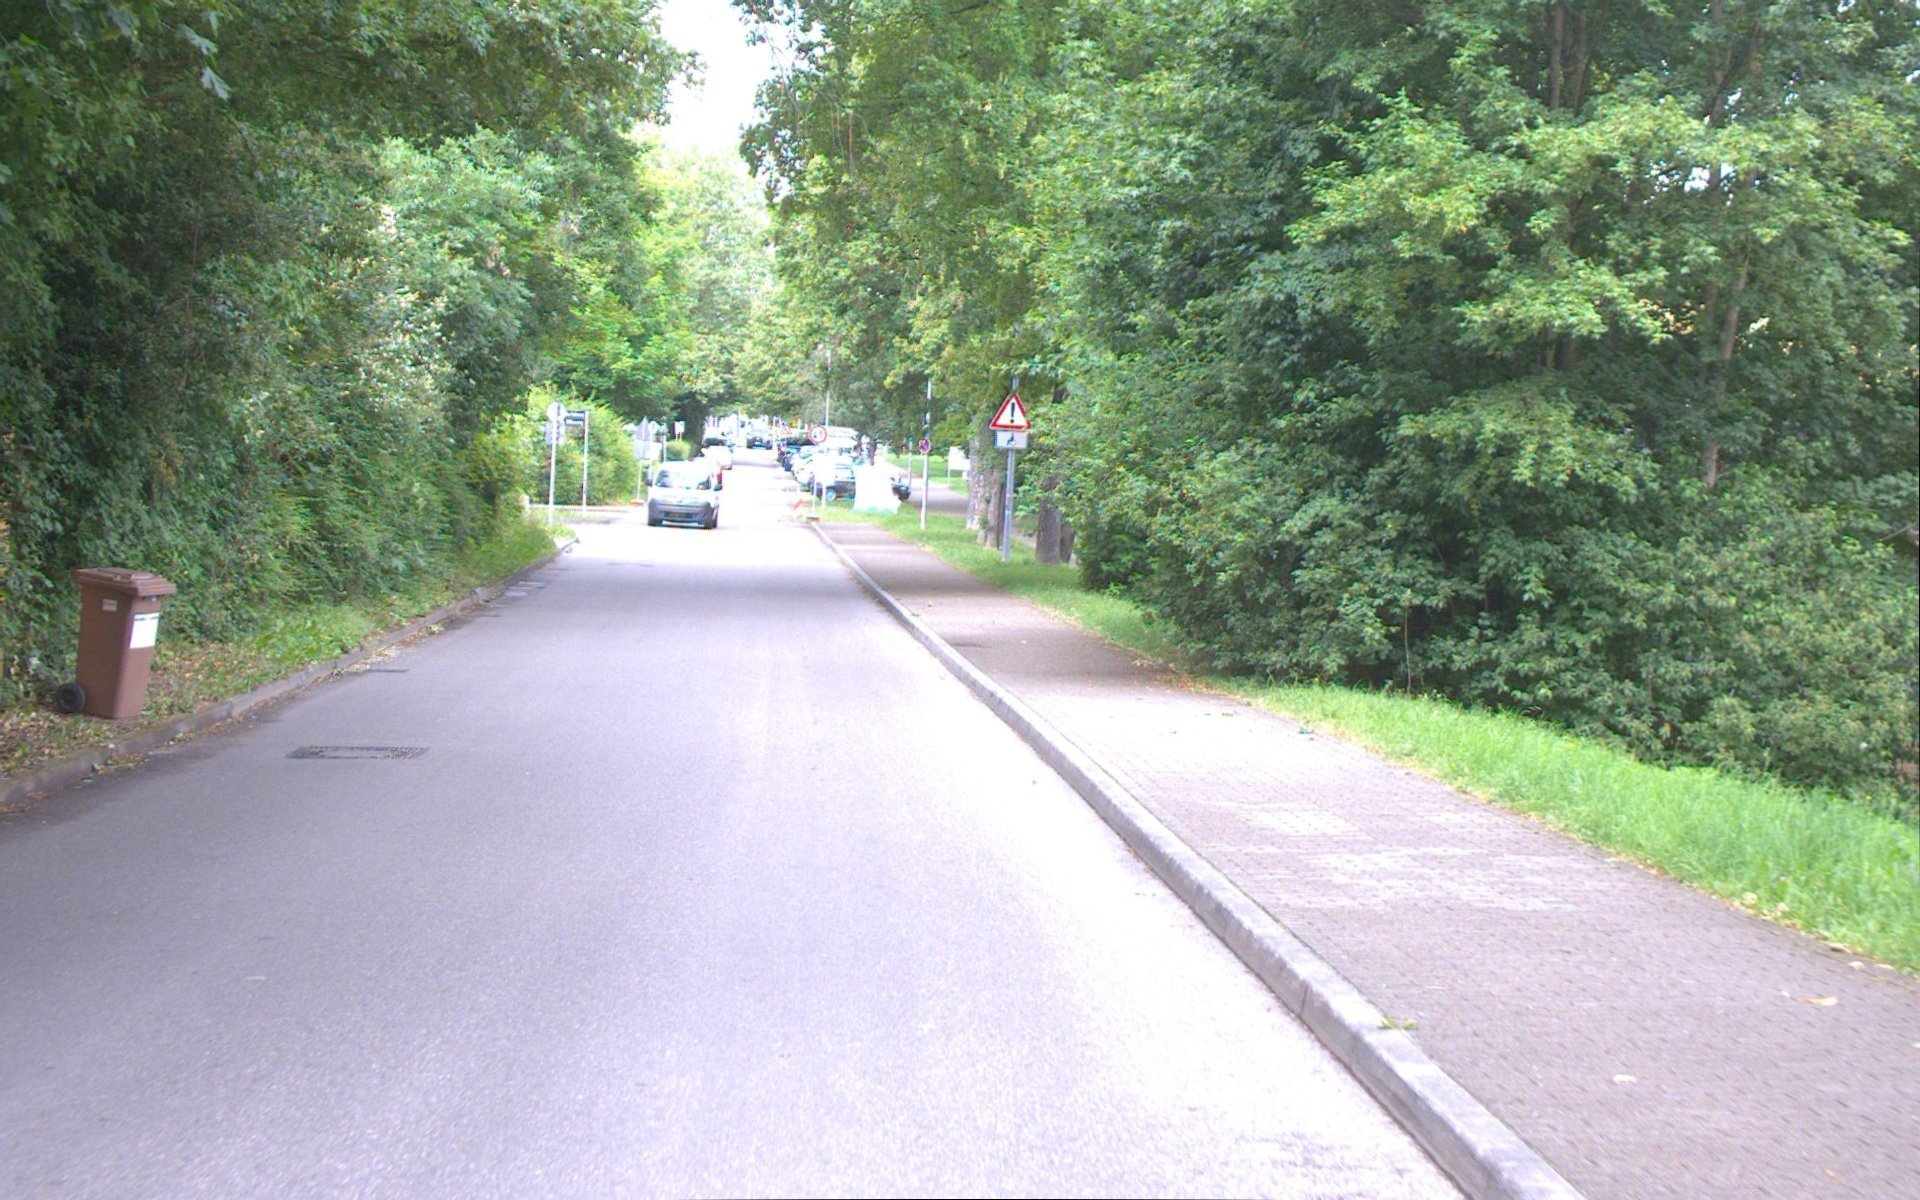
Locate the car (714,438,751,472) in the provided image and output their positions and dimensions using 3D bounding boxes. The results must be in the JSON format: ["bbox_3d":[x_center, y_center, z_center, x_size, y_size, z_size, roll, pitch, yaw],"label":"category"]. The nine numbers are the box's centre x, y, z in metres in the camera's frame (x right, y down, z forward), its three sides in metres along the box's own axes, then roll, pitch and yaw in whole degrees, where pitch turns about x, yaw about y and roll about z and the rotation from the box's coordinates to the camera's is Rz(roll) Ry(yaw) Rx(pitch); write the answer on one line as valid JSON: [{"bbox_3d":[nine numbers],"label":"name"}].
[{"bbox_3d":[-13.610,-8.674,205.828,1.993,1.766,4.000,3,0,-2],"label":"car"}]

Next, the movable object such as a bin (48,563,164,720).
[{"bbox_3d":[-5.378,0.257,21.664,0.590,0.954,0.470,3,0,-2],"label":"movable object such as a bin"}]

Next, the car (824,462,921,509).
[{"bbox_3d":[-3.700,-4.815,144.614,3.986,1.766,2.000,3,0,-2],"label":"car"}]

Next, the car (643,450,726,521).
[{"bbox_3d":[-7.508,-3.105,94.025,1.993,1.766,4.000,3,0,-2],"label":"car"}]
